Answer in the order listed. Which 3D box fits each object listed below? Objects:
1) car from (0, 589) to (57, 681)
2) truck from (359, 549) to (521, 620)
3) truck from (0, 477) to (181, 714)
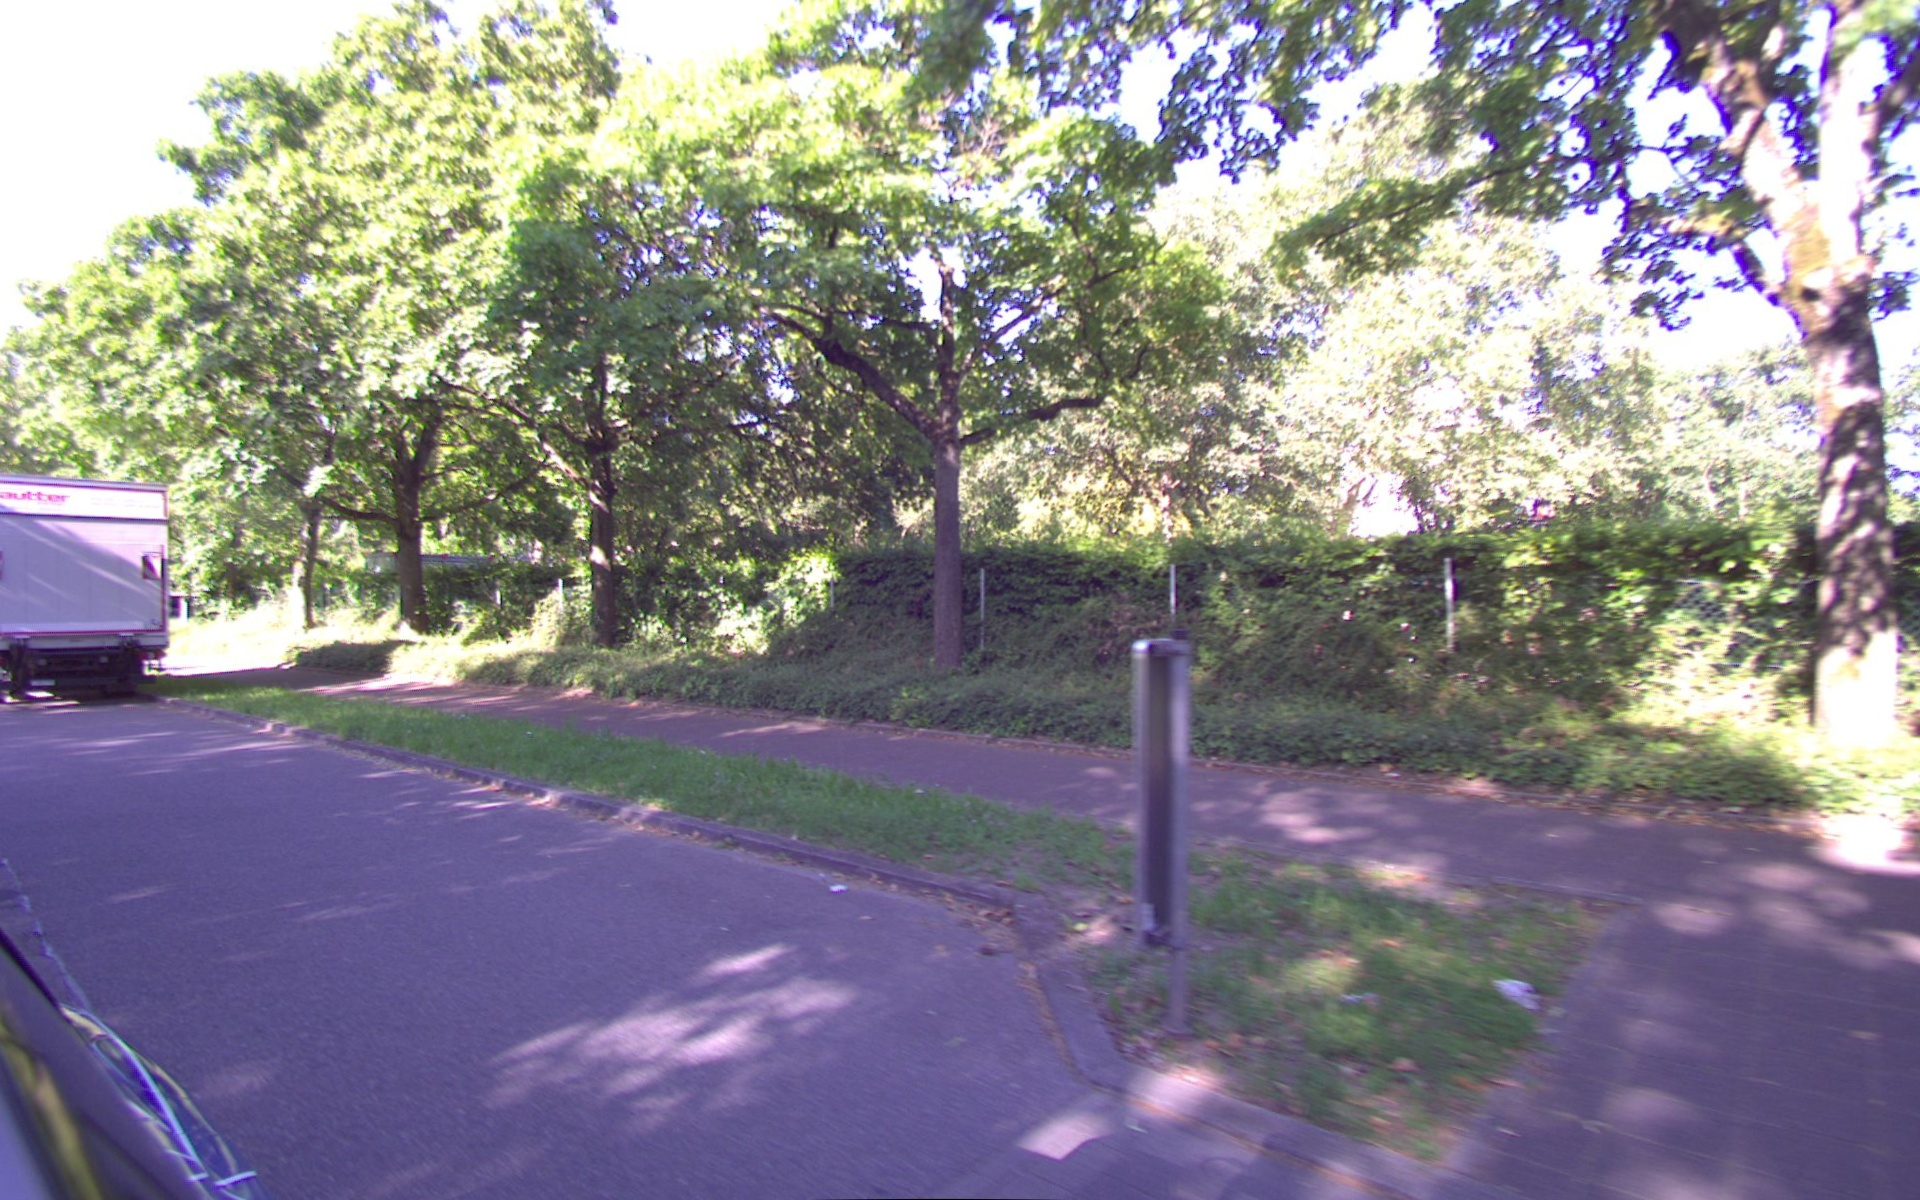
[{"bbox_3d":[-24.690,0.836,25.400,6.579,2.111,2.098,-1,0,40],"label":"car"},{"bbox_3d":[-16.147,-0.412,31.574,2.202,2.029,3.948,-1,-2,39],"label":"truck"},{"bbox_3d":[-17.302,-0.044,18.971,8.096,3.669,2.706,-1,0,41],"label":"truck"}]
